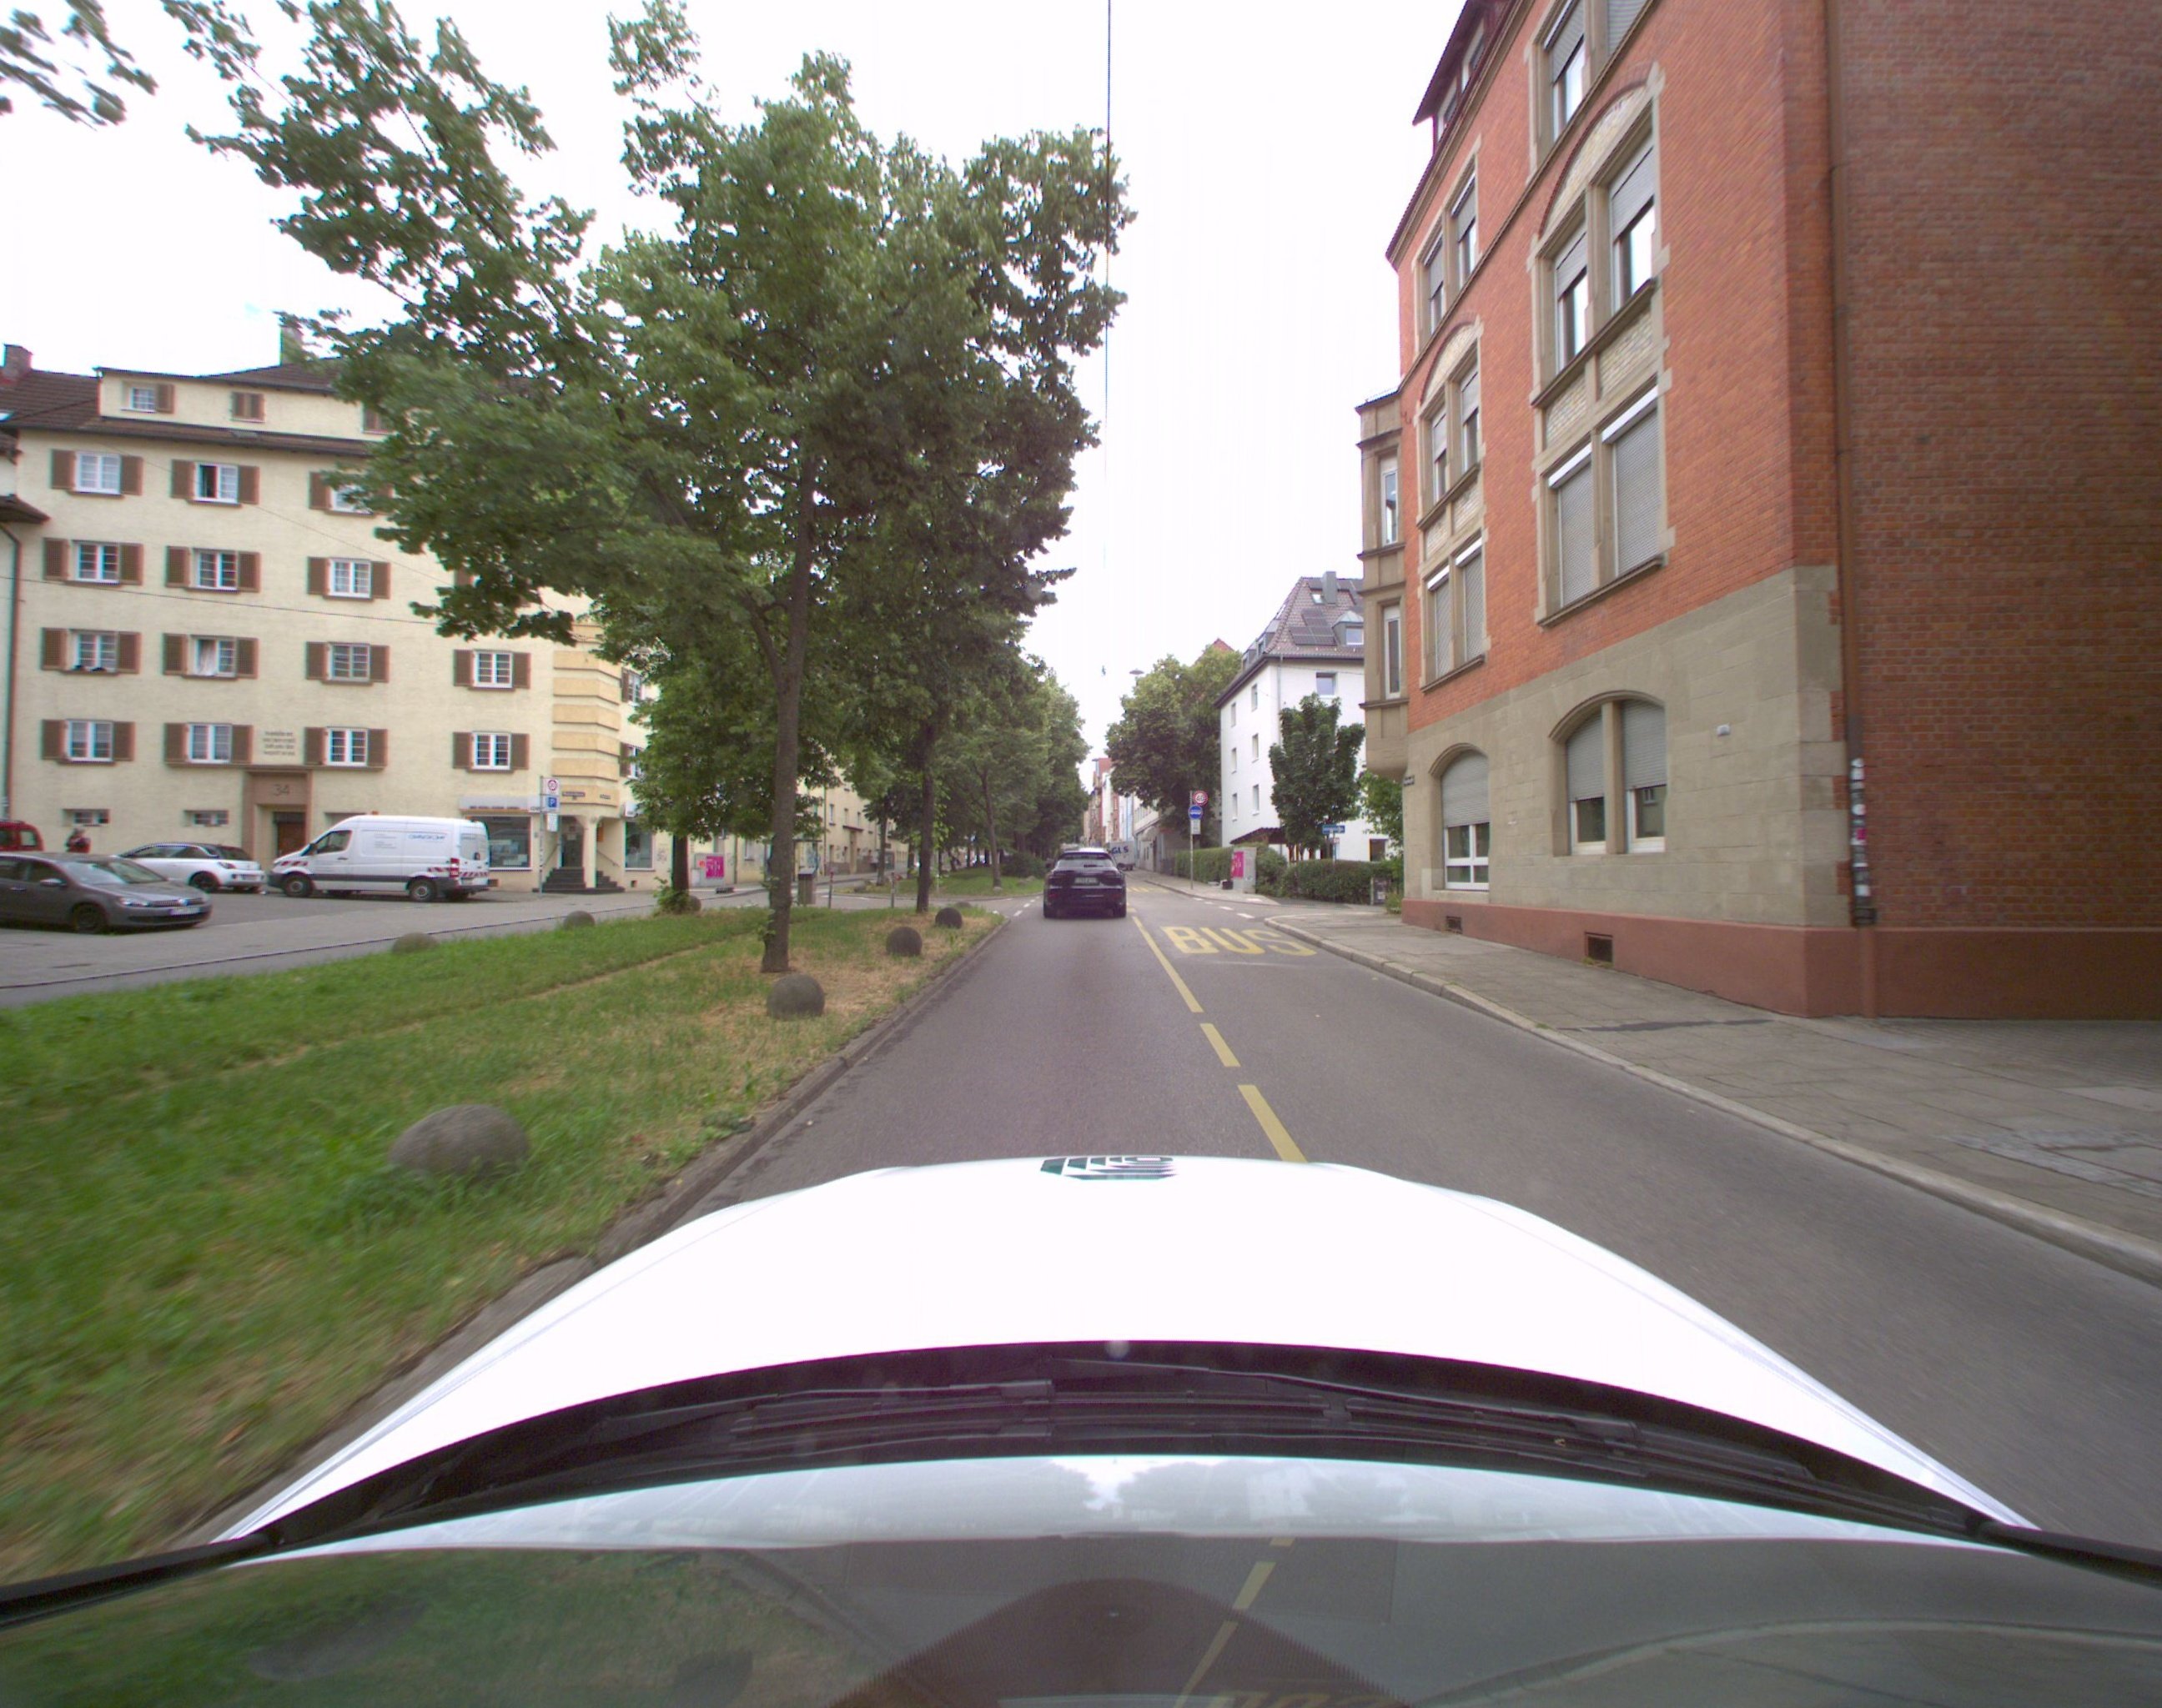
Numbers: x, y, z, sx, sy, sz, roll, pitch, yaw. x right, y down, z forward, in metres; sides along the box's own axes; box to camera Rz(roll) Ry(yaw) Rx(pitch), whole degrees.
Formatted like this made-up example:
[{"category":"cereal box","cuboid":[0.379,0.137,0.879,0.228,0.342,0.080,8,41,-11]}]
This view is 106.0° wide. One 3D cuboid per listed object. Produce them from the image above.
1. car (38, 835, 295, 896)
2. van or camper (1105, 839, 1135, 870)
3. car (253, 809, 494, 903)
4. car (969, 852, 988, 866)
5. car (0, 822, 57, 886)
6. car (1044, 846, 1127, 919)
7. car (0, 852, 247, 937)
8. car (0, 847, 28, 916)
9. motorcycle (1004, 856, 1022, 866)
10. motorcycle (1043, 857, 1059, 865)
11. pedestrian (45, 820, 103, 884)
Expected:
[{"category":"car","cuboid":[-27.170,0.348,24.399,4.761,1.636,1.991,2,-1,-13]},{"category":"van or camper","cuboid":[3.626,0.041,77.472,2.472,2.803,7.235,0,0,-1]},{"category":"car","cuboid":[-21.759,0.090,25.335,5.176,2.736,2.168,1,0,-12]},{"category":"car","cuboid":[-13.506,0.624,107.309,1.944,1.628,4.361,-7,0,-2]},{"category":"car","cuboid":[-32.679,-0.034,23.294,3.986,1.823,1.801,1,0,-9]},{"category":"car","cuboid":[0.009,0.652,20.615,1.899,1.666,4.131,0,0,-3]},{"category":"car","cuboid":[-20.154,0.768,16.547,4.272,1.420,2.048,2,1,1]},{"category":"car","cuboid":[-24.825,0.450,16.500,3.980,1.420,1.997,5,-1,-5]},{"category":"motorcycle","cuboid":[-9.559,0.947,114.530,2.376,1.317,1.044,0,0,-3]},{"category":"motorcycle","cuboid":[-4.286,1.019,117.161,2.350,1.235,1.032,0,0,-3]},{"category":"pedestrian","cuboid":[-32.272,-0.067,26.105,0.809,2.013,0.818,0,0,-1]}]
